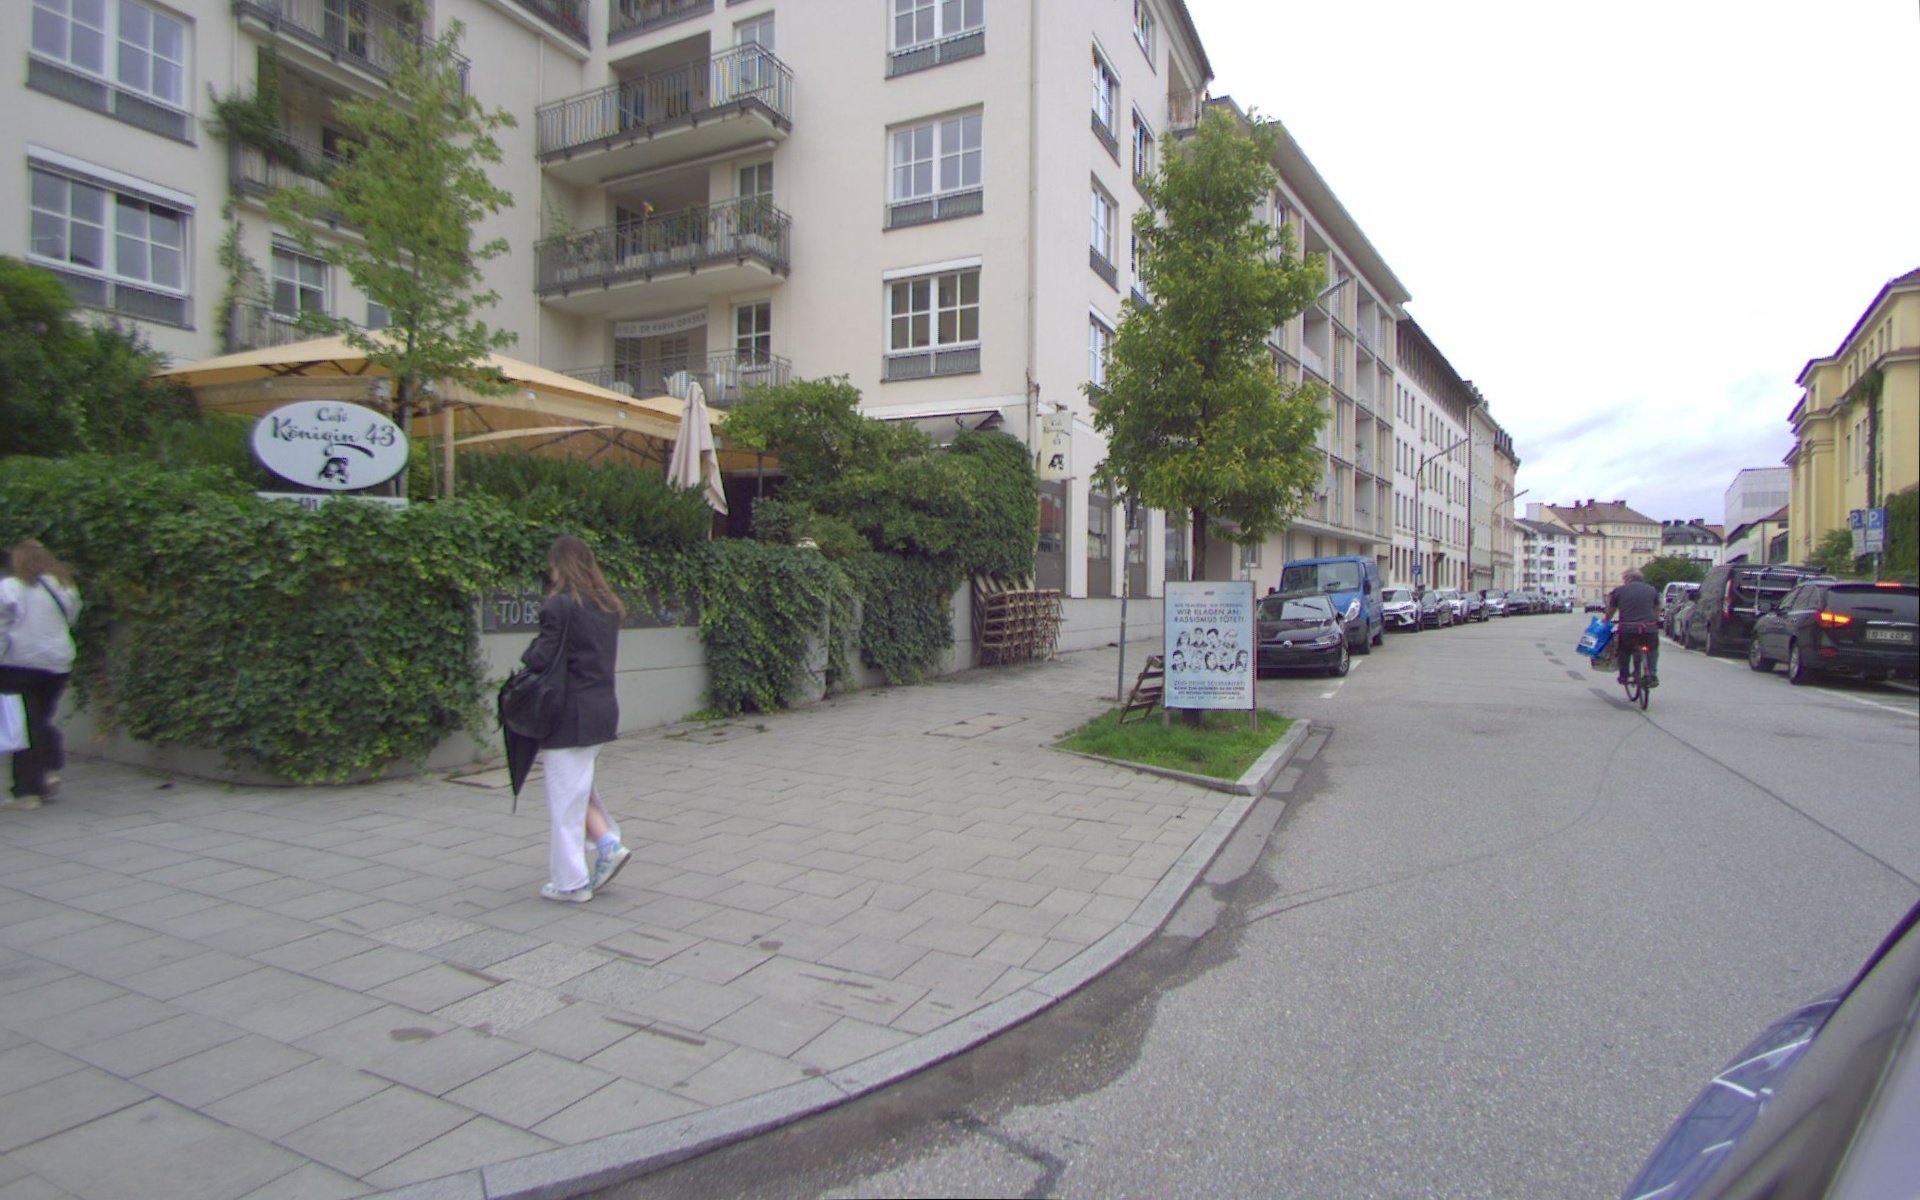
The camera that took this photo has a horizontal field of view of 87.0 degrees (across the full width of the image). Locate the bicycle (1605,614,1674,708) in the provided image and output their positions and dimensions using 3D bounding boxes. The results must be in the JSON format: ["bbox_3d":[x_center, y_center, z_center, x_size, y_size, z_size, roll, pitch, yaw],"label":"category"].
[{"bbox_3d":[8.547,0.733,12.782,0.618,1.030,1.698,3,2,32],"label":"bicycle"}]

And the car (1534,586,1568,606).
[{"bbox_3d":[48.051,-0.313,82.211,1.881,1.474,4.678,-3,-2,36],"label":"car"}]

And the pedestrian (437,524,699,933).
[{"bbox_3d":[-1.751,0.511,4.569,0.871,1.643,0.701,0,0,25],"label":"pedestrian"}]

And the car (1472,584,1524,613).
[{"bbox_3d":[29.802,-0.089,55.991,1.881,1.474,4.678,-3,-2,36],"label":"car"}]

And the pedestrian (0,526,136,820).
[{"bbox_3d":[-5.754,0.416,6.278,0.871,1.682,0.701,0,0,25],"label":"pedestrian"}]

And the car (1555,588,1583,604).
[{"bbox_3d":[60.643,-0.439,100.784,1.881,1.474,4.678,-3,-2,36],"label":"car"}]

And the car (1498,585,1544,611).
[{"bbox_3d":[35.066,-0.146,63.238,1.881,1.474,4.678,-3,-2,36],"label":"car"}]

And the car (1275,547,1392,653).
[{"bbox_3d":[8.930,-0.055,23.959,1.965,2.196,4.670,-3,0,27],"label":"car"}]

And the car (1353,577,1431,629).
[{"bbox_3d":[14.589,0.111,34.023,1.966,1.582,4.667,-3,-2,28],"label":"car"}]

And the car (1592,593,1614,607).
[{"bbox_3d":[63.901,-0.026,100.573,1.782,1.358,3.789,0,1,34],"label":"car"}]

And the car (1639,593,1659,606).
[{"bbox_3d":[82.737,-0.105,121.483,1.761,1.549,3.947,0,0,37],"label":"car"}]

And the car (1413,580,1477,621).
[{"bbox_3d":[20.425,0.035,42.546,1.903,1.582,4.042,-3,-2,32],"label":"car"}]

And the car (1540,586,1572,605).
[{"bbox_3d":[51.932,-0.399,88.100,1.881,1.474,4.678,-3,-2,36],"label":"car"}]

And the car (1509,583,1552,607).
[{"bbox_3d":[38.493,-0.317,68.239,1.881,1.474,4.678,-3,-2,36],"label":"car"}]

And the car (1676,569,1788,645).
[{"bbox_3d":[21.255,0.132,28.044,1.962,1.858,4.629,3,2,32],"label":"car"}]

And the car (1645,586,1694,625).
[{"bbox_3d":[37.484,0.255,53.559,1.964,1.858,4.624,3,2,34],"label":"car"}]

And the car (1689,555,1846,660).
[{"bbox_3d":[18.328,0.111,23.218,1.960,2.097,4.634,3,2,29],"label":"car"}]

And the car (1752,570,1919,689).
[{"bbox_3d":[15.036,0.415,16.935,1.919,1.730,4.582,2,2,27],"label":"car"}]

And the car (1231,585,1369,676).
[{"bbox_3d":[6.219,0.495,18.269,1.763,1.413,3.769,-3,0,27],"label":"car"}]

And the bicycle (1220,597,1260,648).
[{"bbox_3d":[6.306,0.483,22.746,0.482,1.066,2.163,2,1,25],"label":"bicycle"}]

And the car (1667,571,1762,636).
[{"bbox_3d":[23.967,0.071,32.289,1.962,1.858,4.629,3,2,32],"label":"car"}]

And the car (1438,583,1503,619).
[{"bbox_3d":[23.357,0.035,46.232,1.881,1.474,4.542,-3,-2,36],"label":"car"}]

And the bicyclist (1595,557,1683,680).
[{"bbox_3d":[8.582,0.214,12.826,0.836,1.476,0.736,3,2,32],"label":"bicyclist"}]

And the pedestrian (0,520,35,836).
[{"bbox_3d":[-5.582,0.417,5.387,0.871,1.682,0.701,0,0,25],"label":"pedestrian"}]

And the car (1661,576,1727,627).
[{"bbox_3d":[29.468,0.025,40.728,1.964,1.858,4.623,3,2,35],"label":"car"}]

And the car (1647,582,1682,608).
[{"bbox_3d":[53.567,-0.378,76.974,1.963,1.858,4.627,3,2,33],"label":"car"}]

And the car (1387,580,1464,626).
[{"bbox_3d":[17.728,0.108,38.458,1.947,1.582,4.556,-3,-2,33],"label":"car"}]
